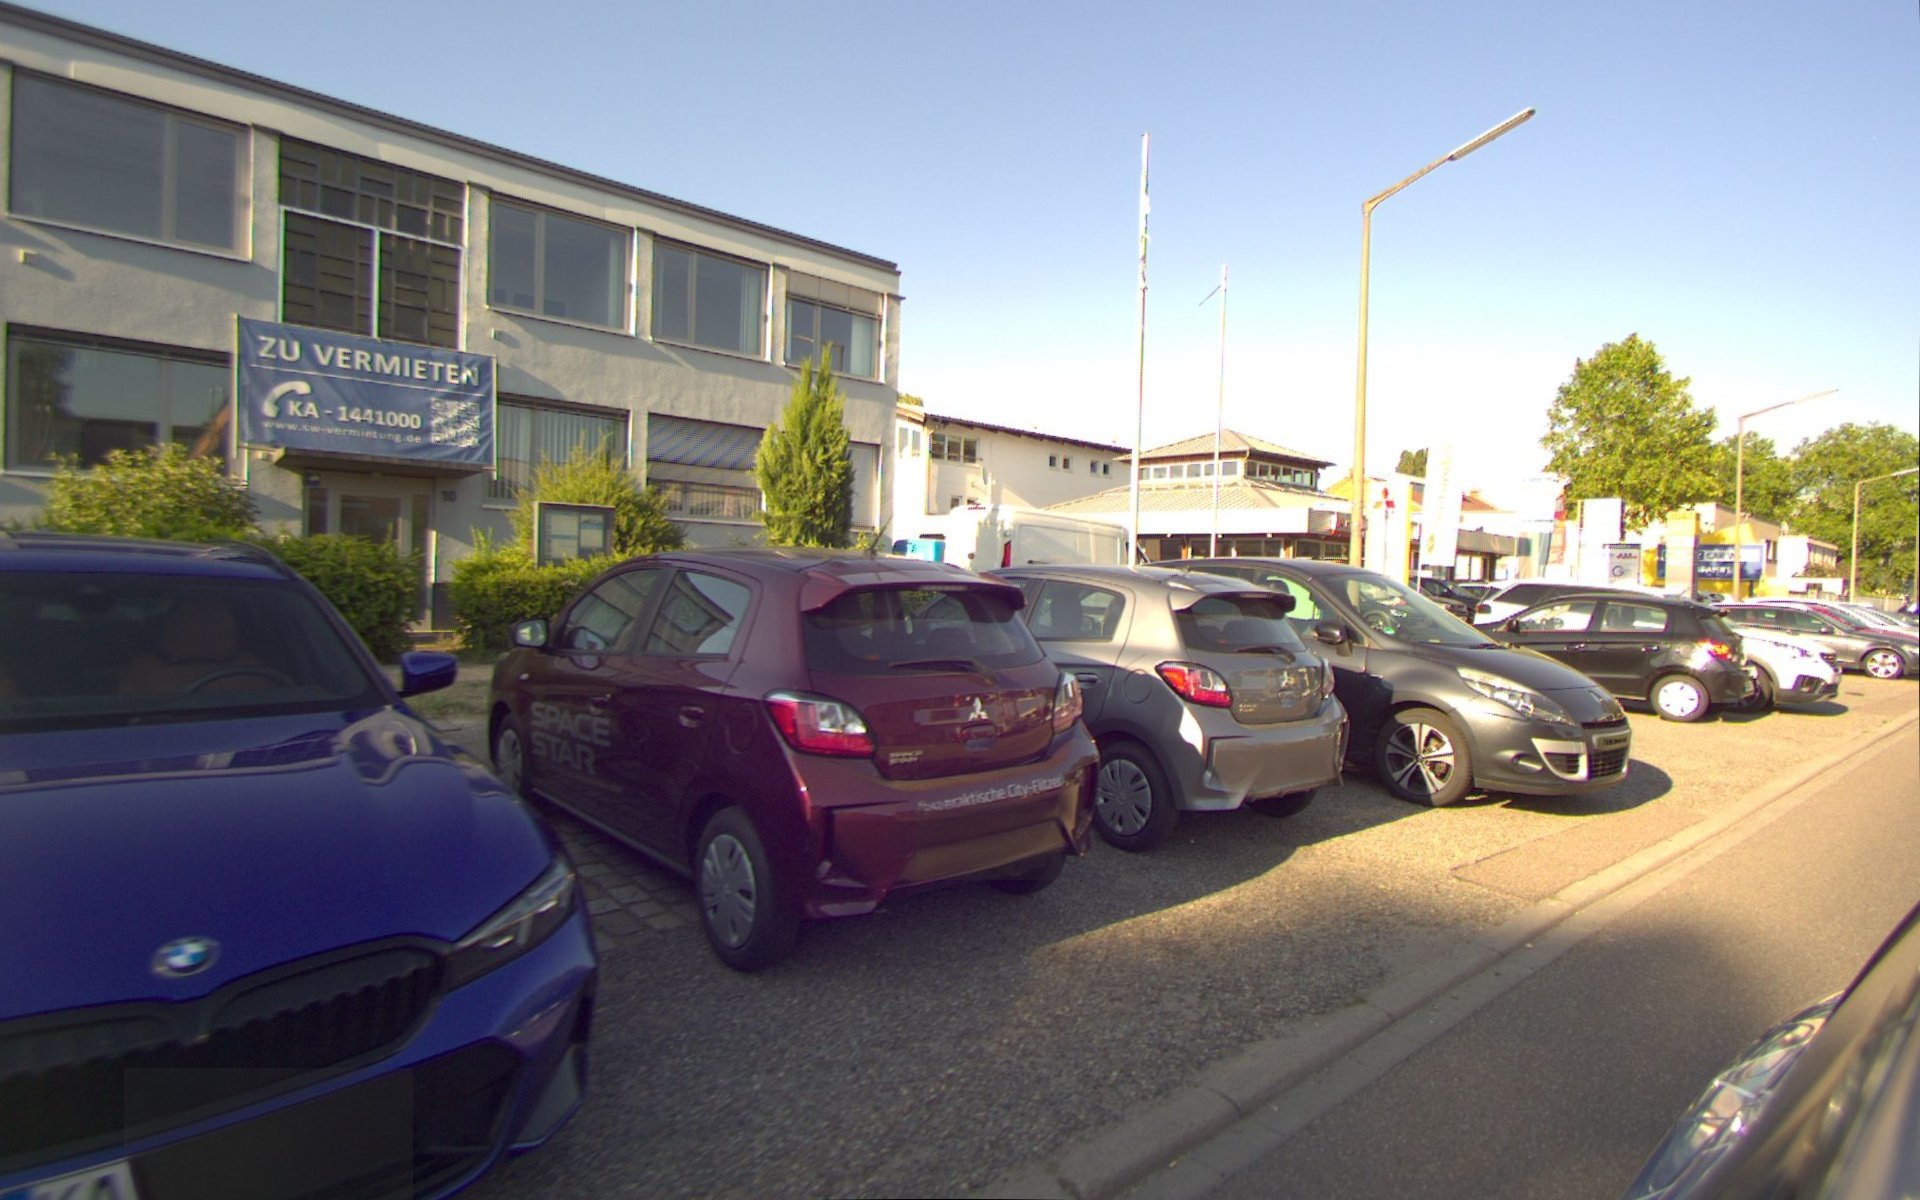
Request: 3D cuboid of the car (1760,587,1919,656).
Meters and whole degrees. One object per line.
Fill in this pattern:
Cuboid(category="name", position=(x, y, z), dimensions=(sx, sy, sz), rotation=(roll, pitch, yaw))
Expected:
Cuboid(category="car", position=(24.351, 0.551, 27.292), dimensions=(2.025, 1.637, 4.113), rotation=(-1, 3, -44))

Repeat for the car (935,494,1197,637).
Cuboid(category="car", position=(2.413, -0.684, 21.521), dimensions=(6.031, 2.658, 1.997), rotation=(-1, 1, -41))

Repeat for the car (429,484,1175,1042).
Cuboid(category="car", position=(-1.128, 0.321, 5.052), dimensions=(1.713, 1.672, 3.994), rotation=(0, 5, -43))

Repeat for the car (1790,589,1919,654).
Cuboid(category="car", position=(26.342, 0.602, 28.800), dimensions=(1.837, 1.607, 3.991), rotation=(0, 4, -44))

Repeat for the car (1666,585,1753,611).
Cuboid(category="car", position=(44.760, -0.140, 60.476), dimensions=(1.968, 1.516, 3.989), rotation=(-1, 1, -45))

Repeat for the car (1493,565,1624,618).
Cuboid(category="car", position=(23.613, -0.353, 40.018), dimensions=(2.163, 1.922, 3.940), rotation=(3, -1, -41))

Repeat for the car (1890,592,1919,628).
Cuboid(category="car", position=(47.173, 0.614, 47.701), dimensions=(1.965, 1.632, 4.612), rotation=(-1, 6, -41))

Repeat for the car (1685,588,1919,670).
Cuboid(category="car", position=(19.267, 0.586, 22.731), dimensions=(2.098, 1.453, 4.446), rotation=(0, 4, -41))

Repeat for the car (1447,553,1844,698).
Cuboid(category="car", position=(10.198, 0.243, 15.330), dimensions=(2.165, 1.616, 4.562), rotation=(-1, 5, -43))

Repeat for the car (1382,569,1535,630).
Cuboid(category="car", position=(16.265, -0.067, 33.185), dimensions=(1.965, 1.717, 3.996), rotation=(0, 4, -40))

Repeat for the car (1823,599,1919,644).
Cuboid(category="car", position=(31.478, 0.743, 33.579), dimensions=(1.751, 1.312, 3.999), rotation=(0, 3, -38))

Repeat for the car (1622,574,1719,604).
Cuboid(category="car", position=(38.089, -0.607, 54.271), dimensions=(1.968, 1.538, 3.989), rotation=(-1, 1, -45))

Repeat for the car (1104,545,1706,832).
Cuboid(category="car", position=(3.259, 0.428, 8.195), dimensions=(1.961, 1.632, 4.004), rotation=(0, 4, -33))

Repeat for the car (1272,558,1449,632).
Cuboid(category="car", position=(11.207, -0.209, 28.534), dimensions=(1.965, 1.793, 4.154), rotation=(0, 4, -40))

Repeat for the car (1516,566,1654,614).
Cuboid(category="car", position=(26.162, -0.437, 42.475), dimensions=(2.164, 1.922, 4.503), rotation=(-1, 1, -41))

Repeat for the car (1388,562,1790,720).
Cuboid(category="car", position=(8.392, 0.404, 13.823), dimensions=(1.888, 1.643, 4.257), rotation=(0, 4, -41))

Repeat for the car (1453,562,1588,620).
Cuboid(category="car", position=(20.217, -0.386, 36.612), dimensions=(1.756, 1.921, 3.910), rotation=(-3, 4, -41))

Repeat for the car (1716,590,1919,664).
Cuboid(category="car", position=(20.793, 0.587, 24.140), dimensions=(4.242, 1.625, 1.718), rotation=(1, 1, 44))

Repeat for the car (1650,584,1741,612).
Cuboid(category="car", position=(42.145, -0.138, 58.043), dimensions=(1.922, 1.538, 3.989), rotation=(-1, 1, -45))

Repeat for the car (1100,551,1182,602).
Cuboid(category="car", position=(6.113, -0.782, 33.880), dimensions=(1.977, 1.601, 3.848), rotation=(0, 1, 22))

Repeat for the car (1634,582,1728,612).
Cuboid(category="car", position=(39.998, -0.204, 56.196), dimensions=(1.968, 1.615, 3.989), rotation=(-1, 1, -45))

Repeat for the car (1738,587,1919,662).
Cuboid(category="car", position=(22.581, 0.565, 25.834), dimensions=(1.853, 1.761, 4.111), rotation=(0, 1, -44))

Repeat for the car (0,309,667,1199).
Cuboid(category="car", position=(-2.839, 0.259, 3.251), dimensions=(1.724, 1.693, 4.530), rotation=(0, 4, -44))

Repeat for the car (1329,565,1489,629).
Cuboid(category="car", position=(13.712, -0.143, 31.048), dimensions=(1.965, 1.679, 3.996), rotation=(0, 4, -40))

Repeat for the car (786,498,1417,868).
Cuboid(category="car", position=(0.640, 0.234, 6.822), dimensions=(1.769, 1.671, 3.998), rotation=(0, 6, -40))
